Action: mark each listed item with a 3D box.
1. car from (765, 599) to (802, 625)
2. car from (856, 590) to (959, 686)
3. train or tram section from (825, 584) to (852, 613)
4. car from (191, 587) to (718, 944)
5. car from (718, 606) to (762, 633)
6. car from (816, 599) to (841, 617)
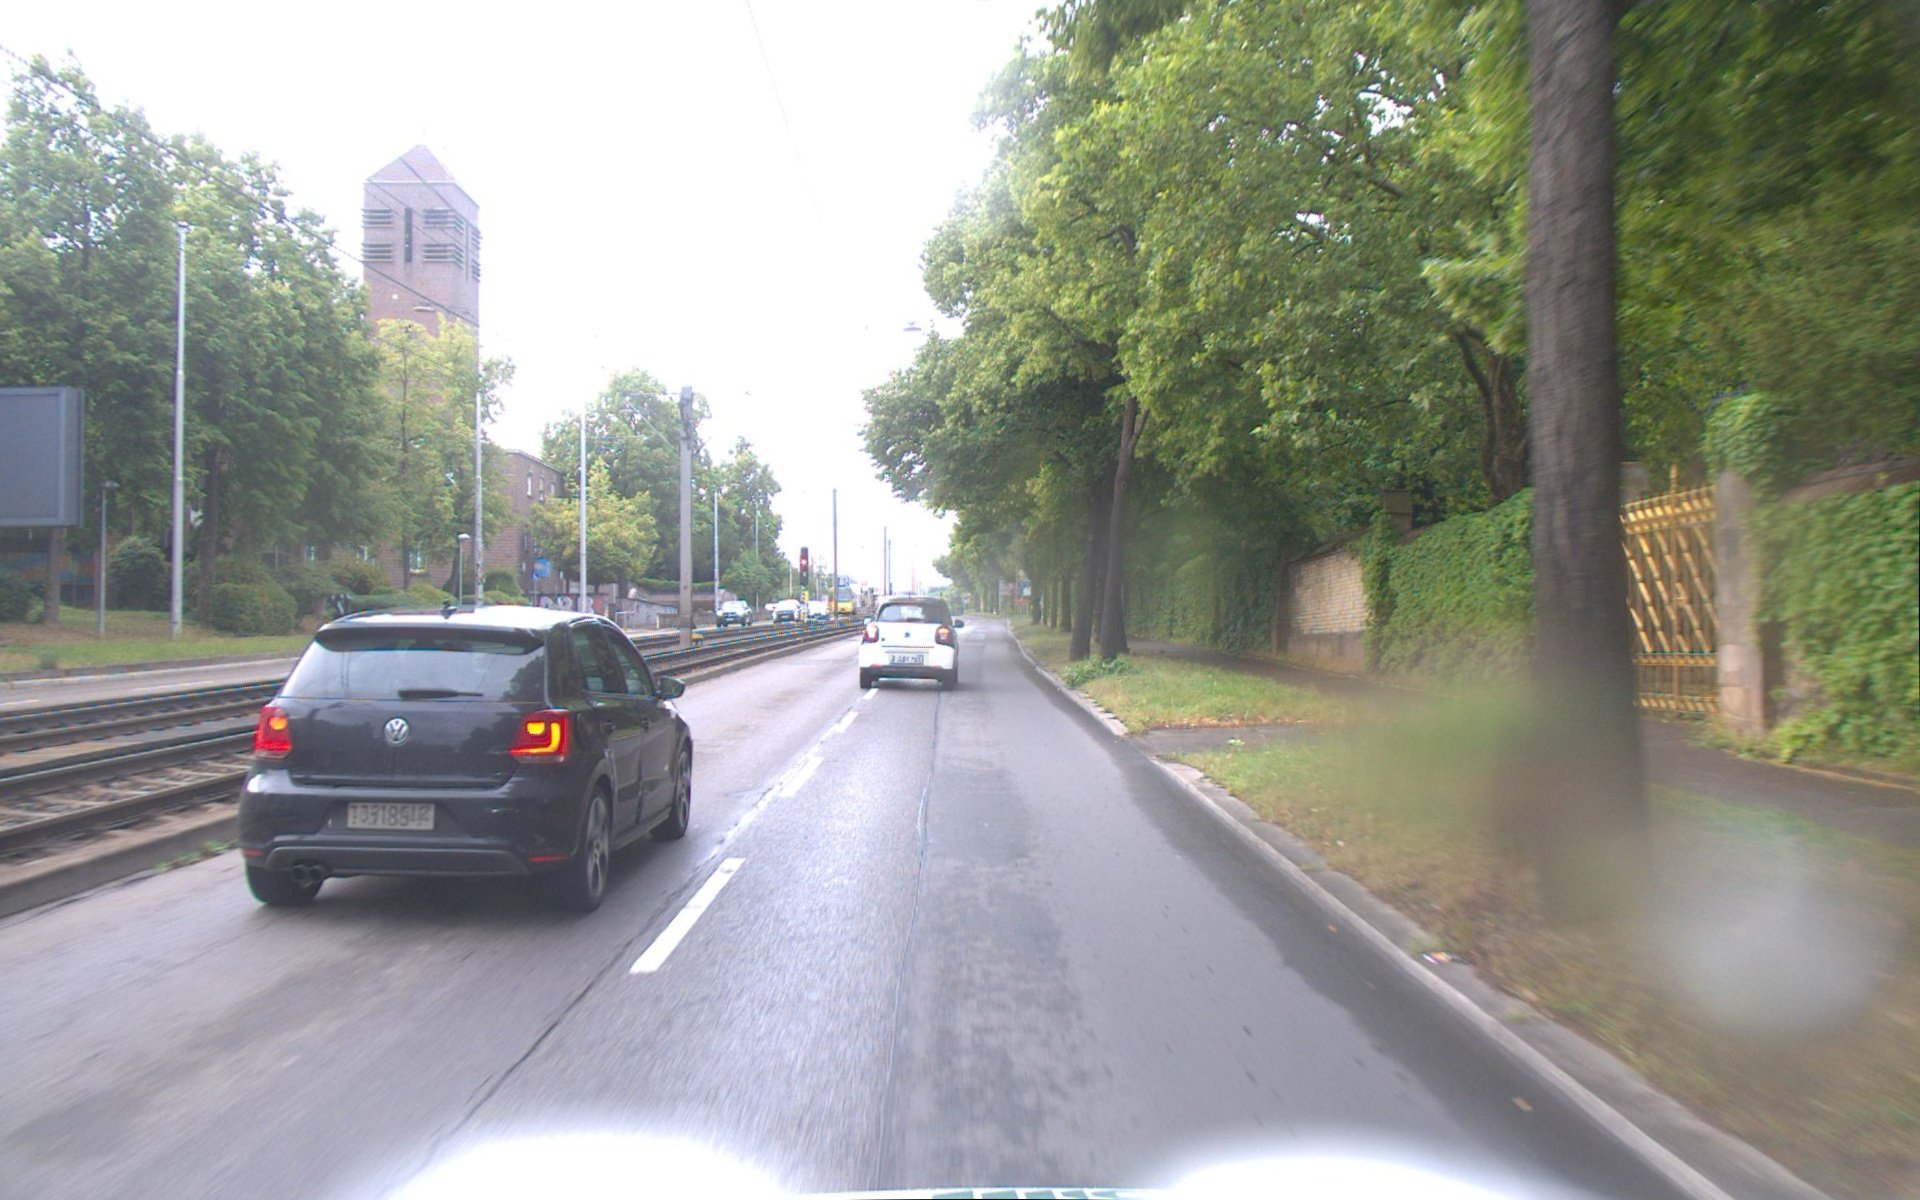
[{"bbox_3d":[-11.801,0.793,110.751,1.796,1.685,4.241,0,0,3],"label":"car"},{"bbox_3d":[-0.859,0.649,29.024,1.641,1.558,3.721,0,-1,1],"label":"car"},{"bbox_3d":[-15.547,-0.191,210.933,2.779,3.668,9.252,1,0,-9],"label":"train or tram section"},{"bbox_3d":[-2.476,0.710,9.157,1.758,1.511,3.963,1,0,-2],"label":"car"},{"bbox_3d":[-14.233,1.239,107.146,1.970,1.685,4.619,0,0,3],"label":"car"},{"bbox_3d":[-10.906,0.677,137.104,1.646,1.487,3.609,0,0,2],"label":"car"}]
